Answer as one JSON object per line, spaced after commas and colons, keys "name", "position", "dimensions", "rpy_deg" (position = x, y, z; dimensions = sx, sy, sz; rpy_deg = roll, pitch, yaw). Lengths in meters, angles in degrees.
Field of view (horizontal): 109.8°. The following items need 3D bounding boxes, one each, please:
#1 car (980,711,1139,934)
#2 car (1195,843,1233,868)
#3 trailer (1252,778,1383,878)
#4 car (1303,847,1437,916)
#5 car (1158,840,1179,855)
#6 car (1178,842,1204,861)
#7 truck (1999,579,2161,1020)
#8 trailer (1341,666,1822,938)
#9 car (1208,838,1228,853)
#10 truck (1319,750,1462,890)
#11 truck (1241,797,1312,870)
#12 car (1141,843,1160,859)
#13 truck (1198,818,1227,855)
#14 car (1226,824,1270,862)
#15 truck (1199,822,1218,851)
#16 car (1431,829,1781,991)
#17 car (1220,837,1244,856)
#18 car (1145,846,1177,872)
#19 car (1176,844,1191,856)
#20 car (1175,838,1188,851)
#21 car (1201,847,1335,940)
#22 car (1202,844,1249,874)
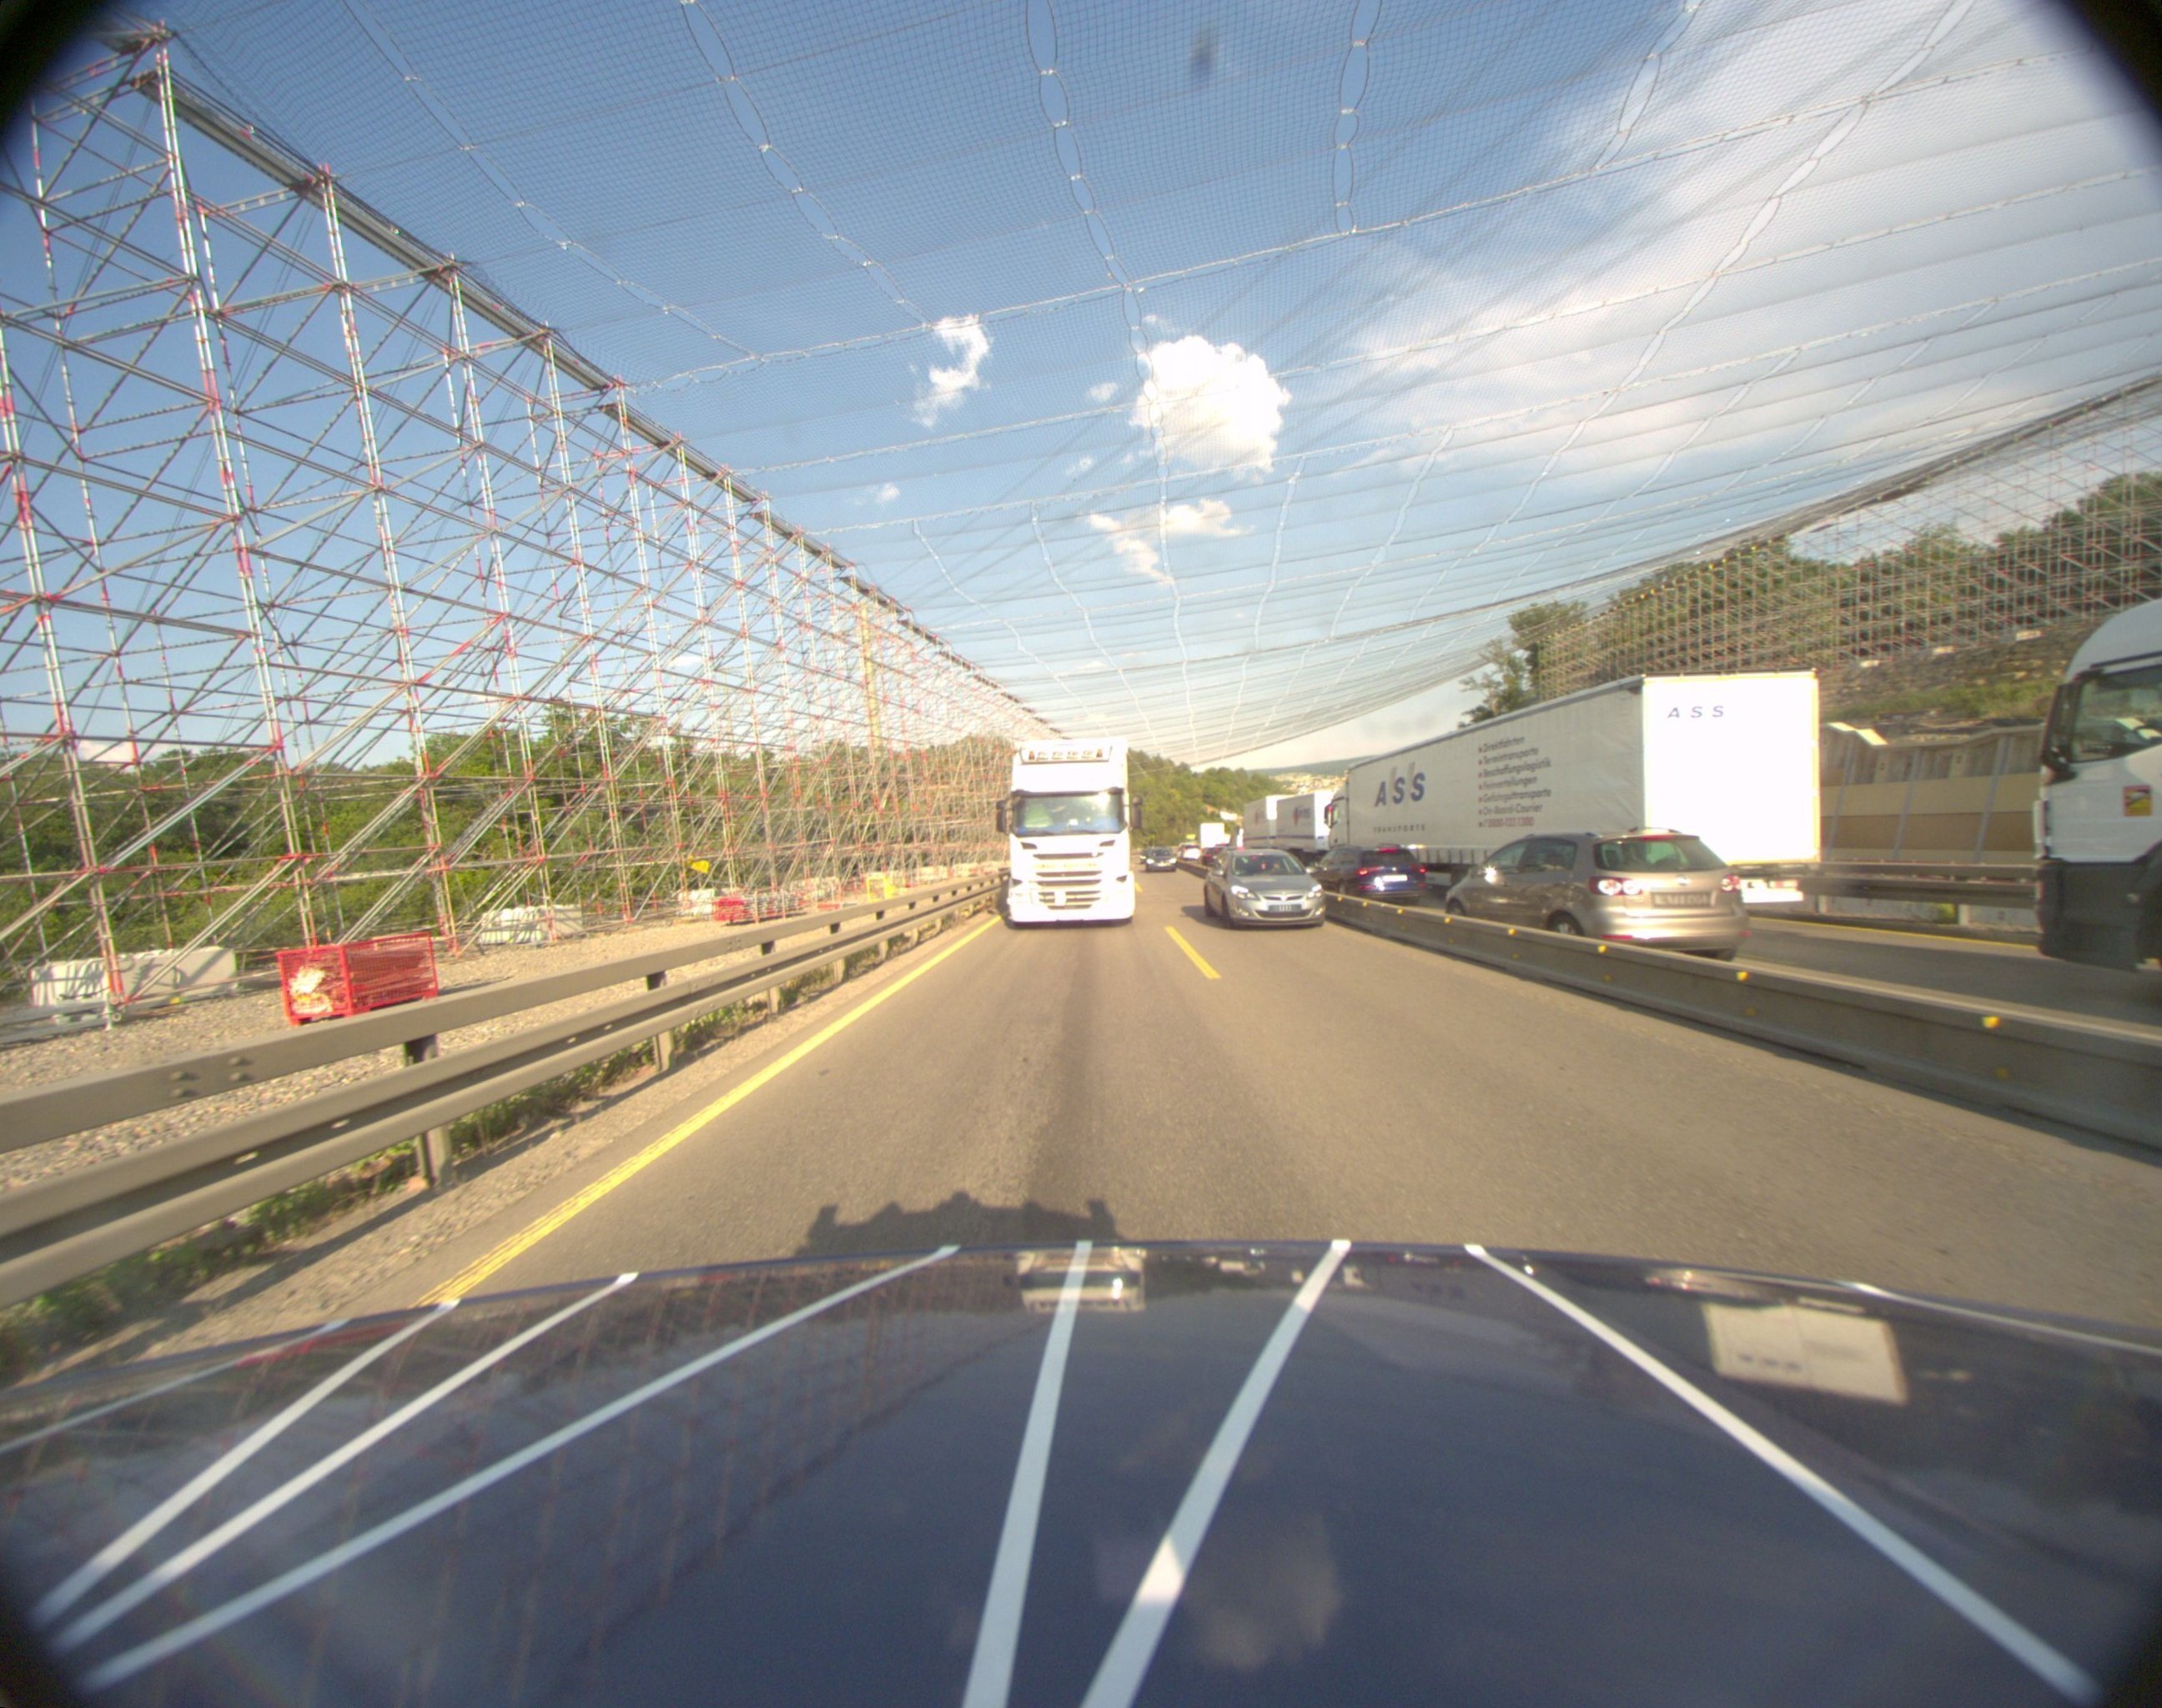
{"name": "car", "position": [-0.282, -0.649, 18.454], "dimensions": [2.858, 4.092, 8.280], "rpy_deg": [-2, 1, 2]}
{"name": "car", "position": [8.462, 0.074, 48.658], "dimensions": [1.782, 1.442, 4.663], "rpy_deg": [-2, 1, 2]}
{"name": "trailer", "position": [11.071, -1.163, 37.465], "dimensions": [2.676, 3.993, 13.332], "rpy_deg": [-2, 1, 2]}
{"name": "car", "position": [6.869, 0.573, 18.555], "dimensions": [1.798, 1.390, 4.244], "rpy_deg": [-2, 1, 3]}
{"name": "car", "position": [9.382, -0.721, 81.703], "dimensions": [1.812, 1.559, 4.366], "rpy_deg": [-2, 1, 3]}
{"name": "car", "position": [9.600, -0.242, 66.406], "dimensions": [1.812, 1.559, 4.366], "rpy_deg": [-2, 1, 3]}
{"name": "truck", "position": [9.392, -0.415, 3.987], "dimensions": [2.419, 3.351, 5.616], "rpy_deg": [-2, 1, 1]}
{"name": "trailer", "position": [9.814, -0.873, 18.271], "dimensions": [2.433, 3.940, 14.096], "rpy_deg": [-2, 1, 1]}
{"name": "car", "position": [15.237, -0.977, 84.716], "dimensions": [1.796, 1.531, 4.910], "rpy_deg": [-2, 1, 6]}
{"name": "truck", "position": [9.983, -1.040, 25.174], "dimensions": [2.479, 4.023, 5.617], "rpy_deg": [-2, 1, 1]}
{"name": "truck", "position": [11.415, -1.195, 45.053], "dimensions": [2.637, 3.888, 7.205], "rpy_deg": [-2, 1, 3]}
{"name": "car", "position": [6.340, -0.269, 69.541], "dimensions": [1.675, 1.376, 3.823], "rpy_deg": [-2, 1, 5]}
{"name": "truck", "position": [16.412, -2.178, 95.577], "dimensions": [2.727, 4.203, 14.172], "rpy_deg": [-2, 1, 7]}
{"name": "car", "position": [12.689, -0.839, 58.197], "dimensions": [2.246, 2.697, 7.083], "rpy_deg": [-2, 1, 4]}
{"name": "truck", "position": [21.902, -2.974, 131.145], "dimensions": [2.992, 4.533, 17.415], "rpy_deg": [-2, 1, 9]}
{"name": "car", "position": [6.185, 0.531, 9.602], "dimensions": [1.755, 1.578, 3.942], "rpy_deg": [-2, 1, 2]}
{"name": "car", "position": [14.697, -0.777, 74.220], "dimensions": [1.827, 1.717, 4.938], "rpy_deg": [-2, 1, 6]}
{"name": "car", "position": [4.701, 0.272, 45.256], "dimensions": [1.764, 1.376, 3.823], "rpy_deg": [-2, 1, 4]}
{"name": "car", "position": [13.450, -0.571, 99.789], "dimensions": [1.812, 1.411, 4.519], "rpy_deg": [-2, 1, 5]}
{"name": "car", "position": [15.641, -1.516, 118.637], "dimensions": [1.812, 1.858, 5.283], "rpy_deg": [-2, 1, 6]}
{"name": "car", "position": [3.481, 0.646, 14.952], "dimensions": [1.759, 1.464, 4.353], "rpy_deg": [-2, 1, 3]}
{"name": "car", "position": [7.086, 0.210, 37.618], "dimensions": [1.611, 1.368, 3.900], "rpy_deg": [-2, 1, 1]}
